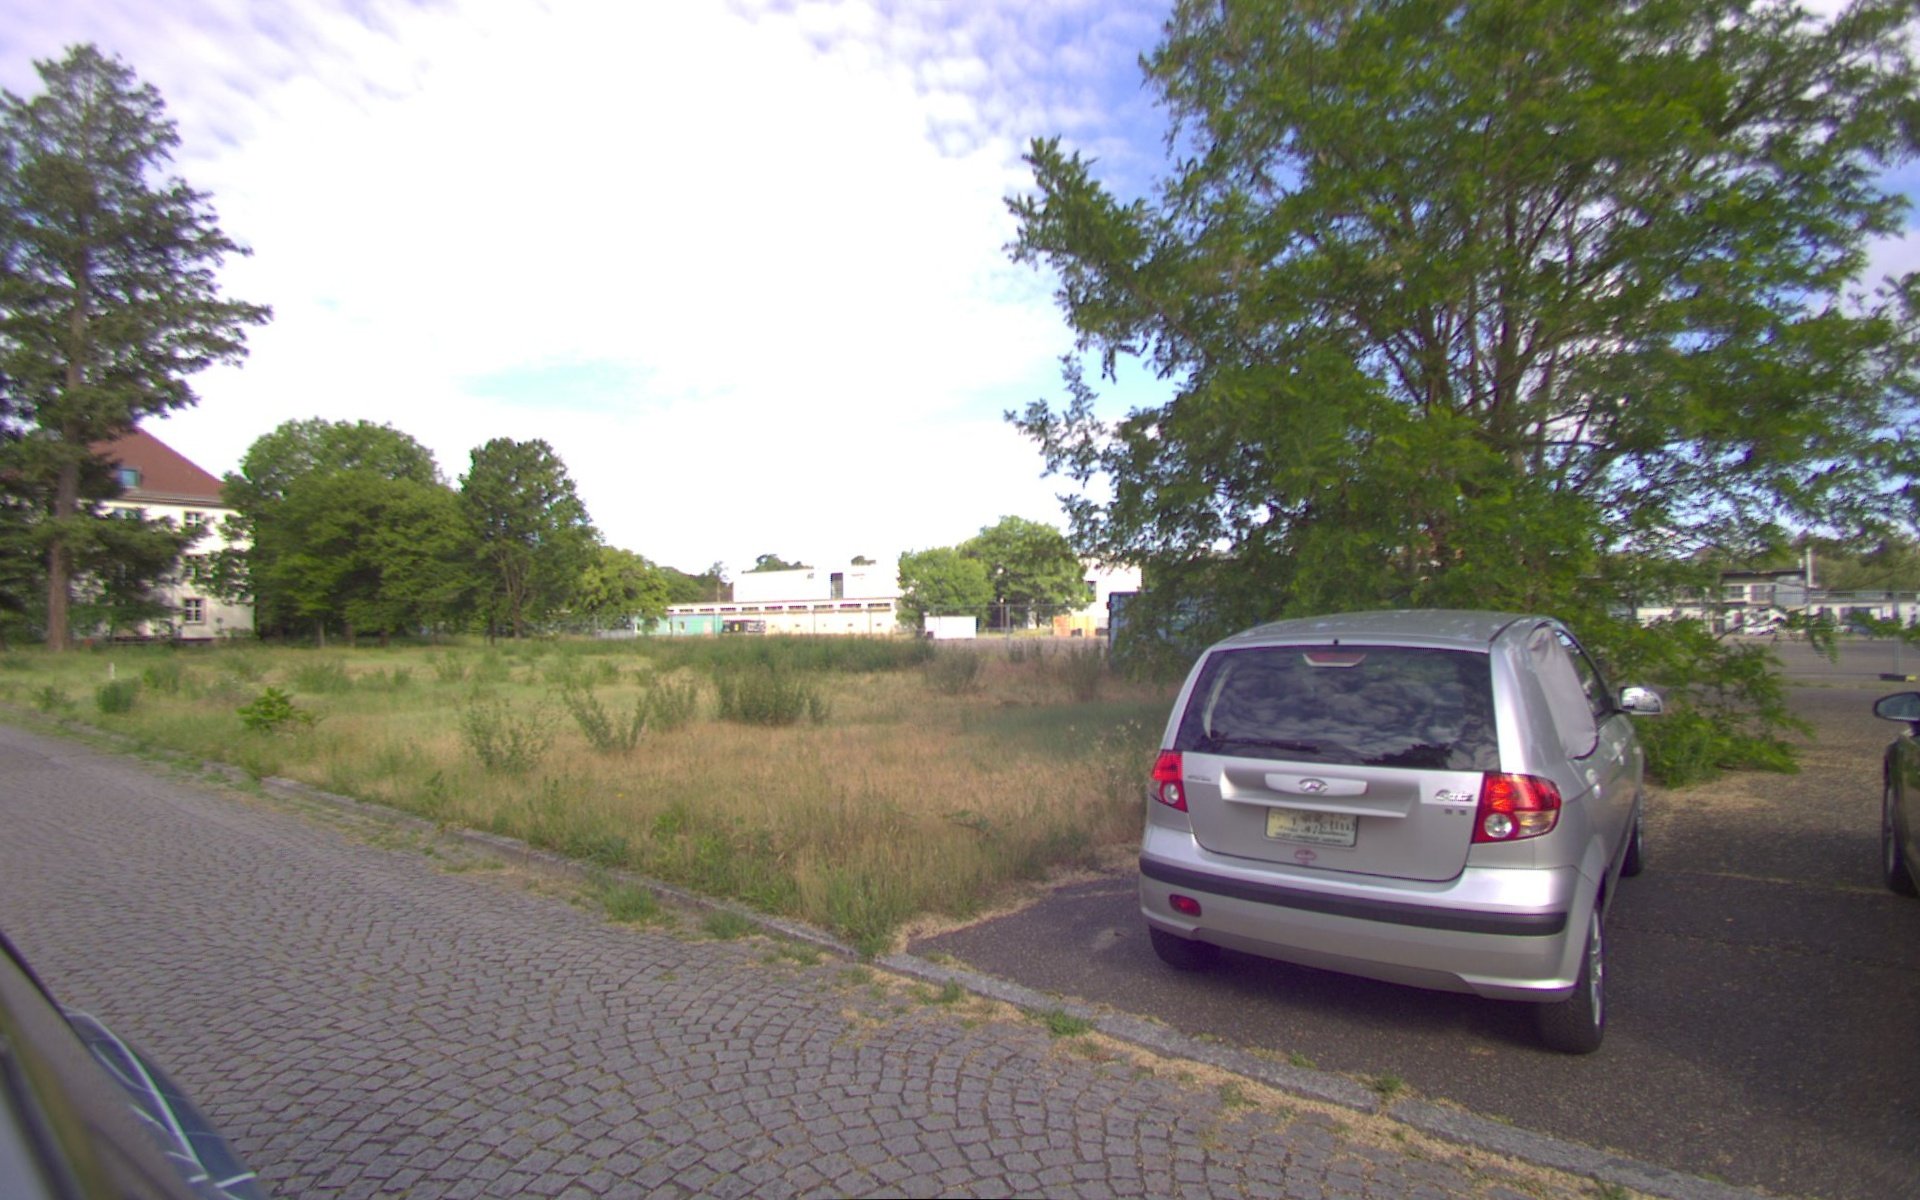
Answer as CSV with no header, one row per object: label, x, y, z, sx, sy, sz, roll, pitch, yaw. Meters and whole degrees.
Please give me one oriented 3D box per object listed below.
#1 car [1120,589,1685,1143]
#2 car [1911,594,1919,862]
car,2.346,0.756,4.777,1.644,1.486,3.544,-2,1,37
car,4.371,0.714,3.168,1.693,1.419,3.799,-2,0,39
